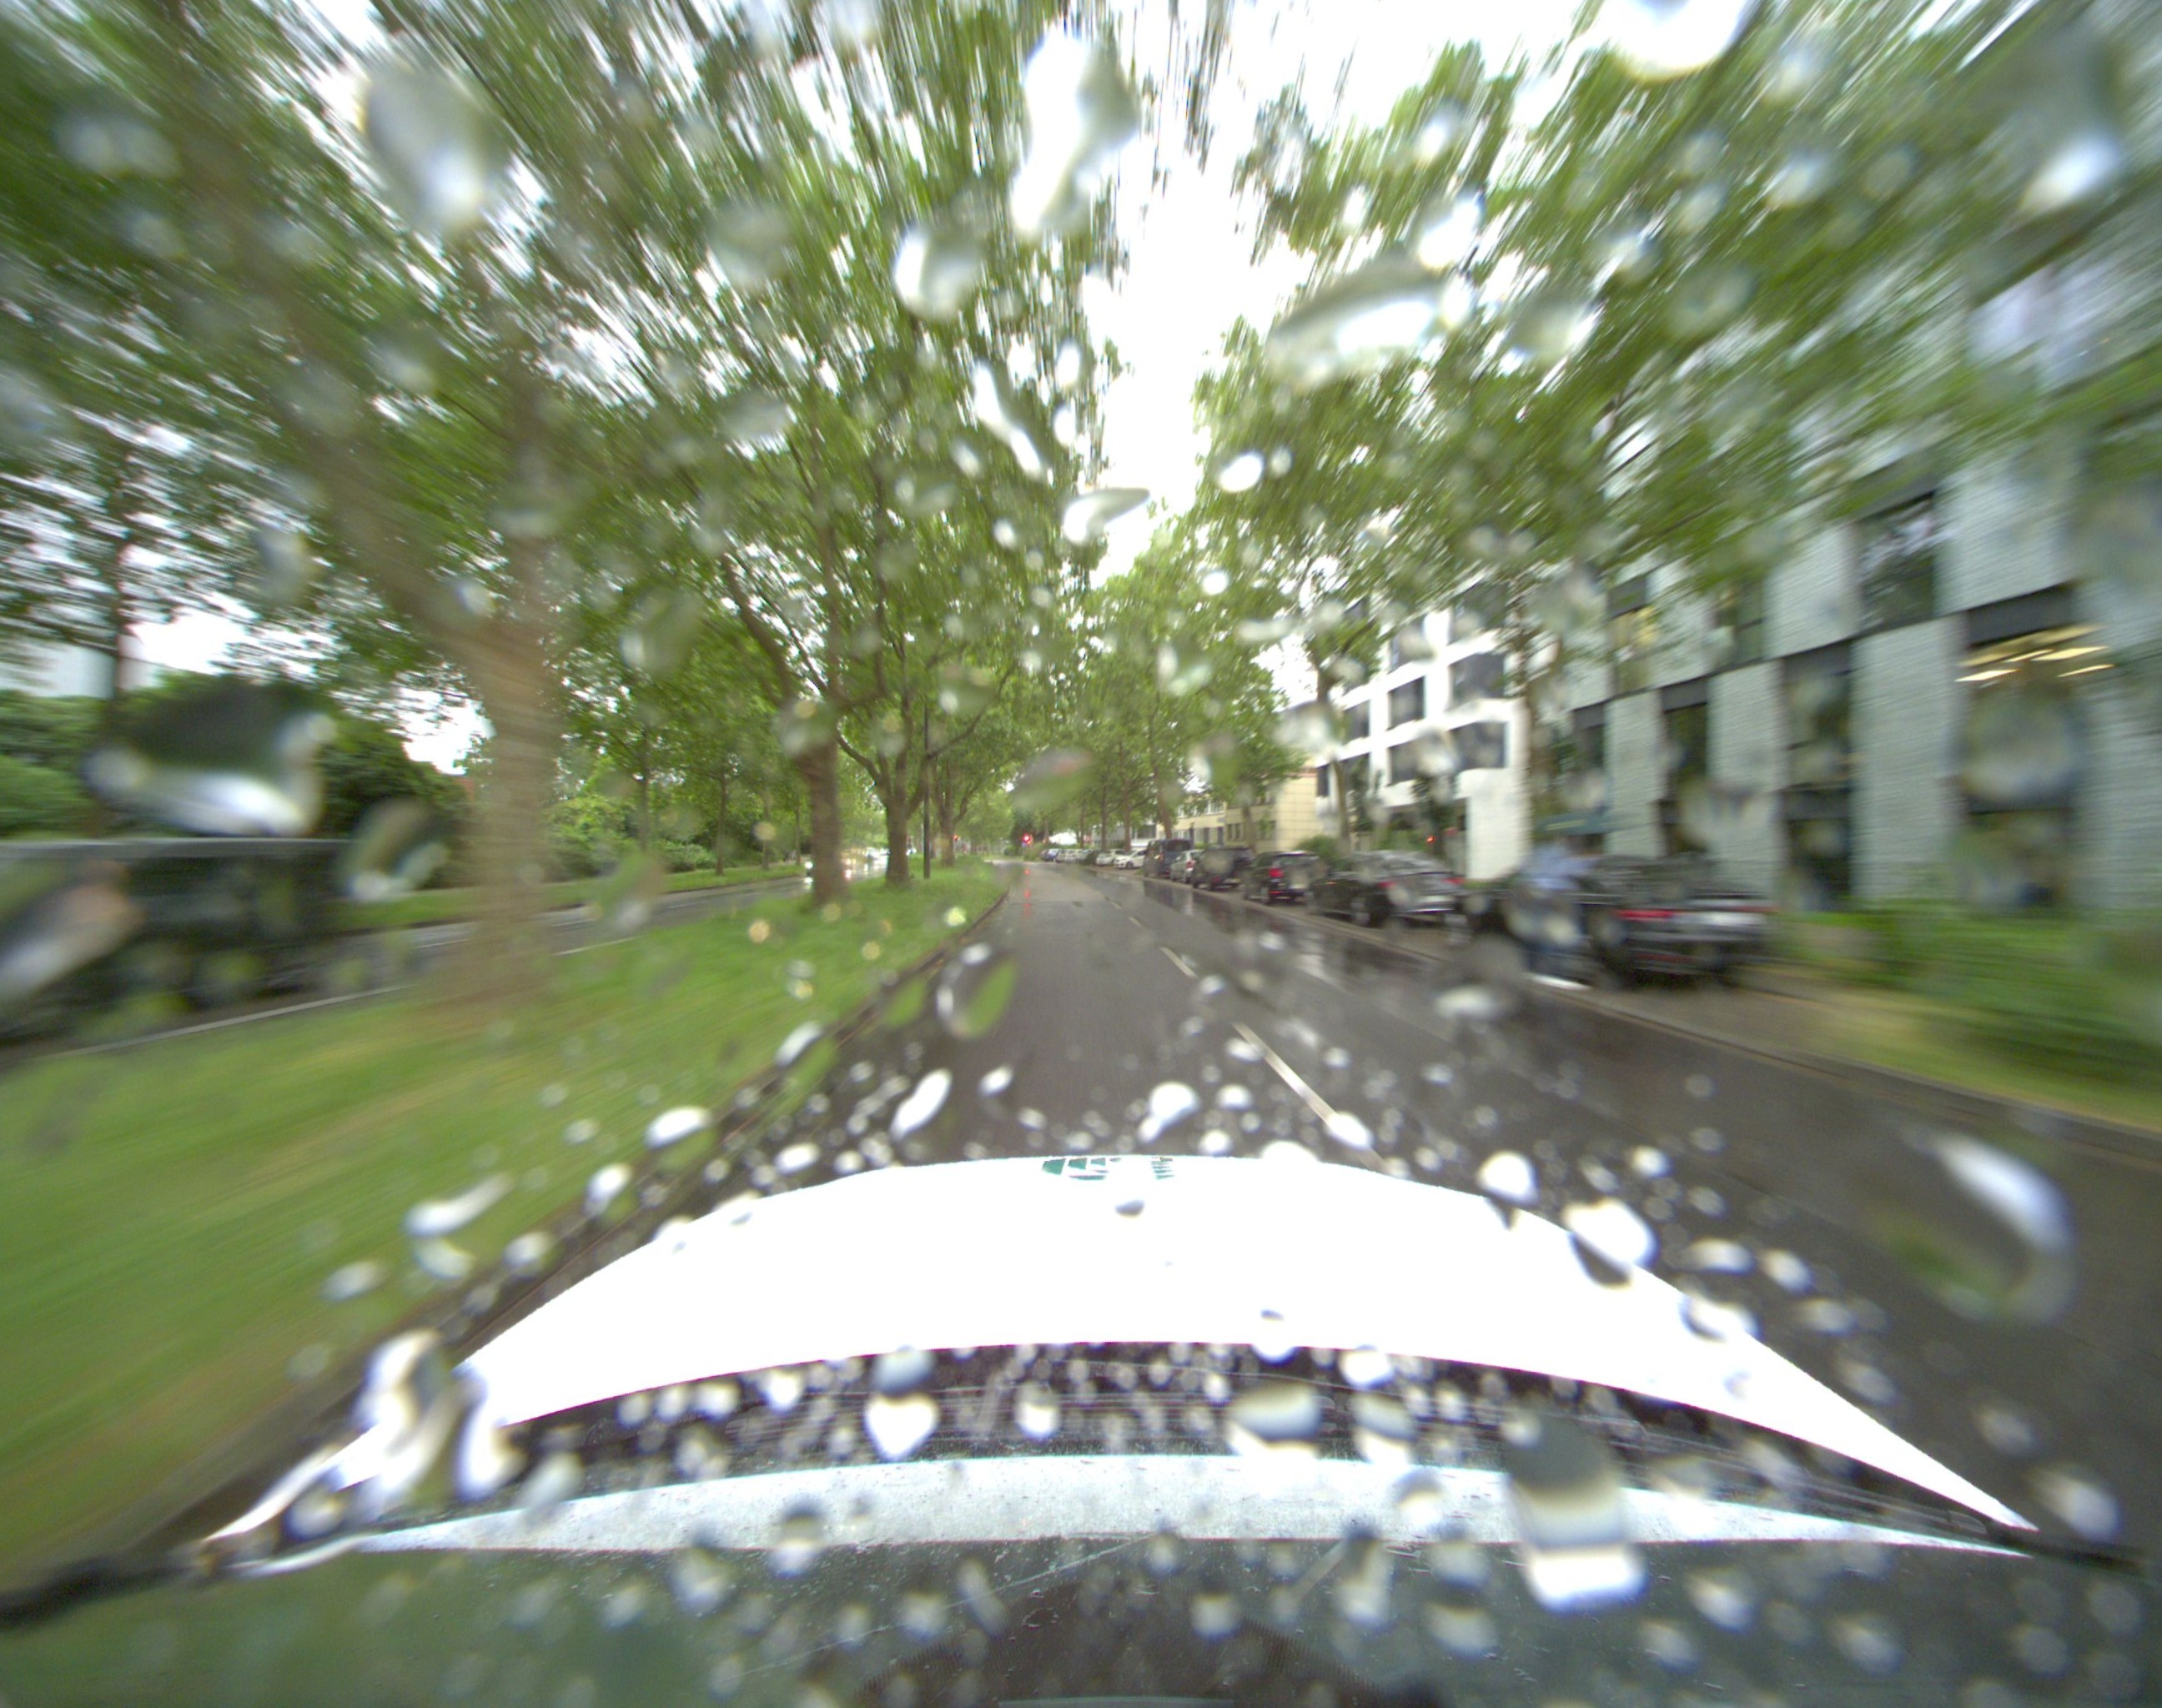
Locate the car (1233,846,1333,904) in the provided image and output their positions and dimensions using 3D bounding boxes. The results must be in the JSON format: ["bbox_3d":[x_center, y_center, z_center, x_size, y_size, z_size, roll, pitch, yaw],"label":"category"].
[{"bbox_3d":[5.597,0.532,23.010,1.738,1.476,4.080,0,0,-1],"label":"car"}]

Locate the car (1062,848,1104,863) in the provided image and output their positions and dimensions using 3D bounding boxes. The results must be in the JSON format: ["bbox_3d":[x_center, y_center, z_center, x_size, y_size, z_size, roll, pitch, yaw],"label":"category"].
[{"bbox_3d":[0.218,0.171,78.693,3.709,1.416,1.730,-1,0,-36],"label":"car"}]

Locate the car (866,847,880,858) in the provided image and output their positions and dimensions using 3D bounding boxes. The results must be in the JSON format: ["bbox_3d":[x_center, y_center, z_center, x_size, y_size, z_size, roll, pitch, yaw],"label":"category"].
[{"bbox_3d":[-30.553,-0.205,119.392,1.747,1.476,4.384,0,0,-17],"label":"car"}]

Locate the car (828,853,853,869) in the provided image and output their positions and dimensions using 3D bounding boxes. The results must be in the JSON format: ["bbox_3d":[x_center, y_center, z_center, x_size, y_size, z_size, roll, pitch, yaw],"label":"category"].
[{"bbox_3d":[-22.651,0.628,76.825,1.743,1.459,3.830,0,0,-9],"label":"car"}]

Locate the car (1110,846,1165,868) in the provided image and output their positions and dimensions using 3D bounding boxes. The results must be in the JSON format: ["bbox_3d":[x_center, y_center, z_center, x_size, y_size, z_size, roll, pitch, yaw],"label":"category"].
[{"bbox_3d":[4.194,0.221,60.223,3.651,1.504,1.735,-1,1,-24],"label":"car"}]

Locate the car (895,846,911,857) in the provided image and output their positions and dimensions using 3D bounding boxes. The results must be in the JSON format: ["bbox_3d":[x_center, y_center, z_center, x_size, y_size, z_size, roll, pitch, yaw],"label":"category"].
[{"bbox_3d":[-26.652,-0.326,121.933,1.750,1.650,4.274,0,0,-22],"label":"car"}]

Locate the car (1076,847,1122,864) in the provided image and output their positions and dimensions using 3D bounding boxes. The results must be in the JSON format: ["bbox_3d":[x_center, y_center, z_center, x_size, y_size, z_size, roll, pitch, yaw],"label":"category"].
[{"bbox_3d":[1.617,0.132,73.678,4.060,1.539,1.728,-1,0,-42],"label":"car"}]

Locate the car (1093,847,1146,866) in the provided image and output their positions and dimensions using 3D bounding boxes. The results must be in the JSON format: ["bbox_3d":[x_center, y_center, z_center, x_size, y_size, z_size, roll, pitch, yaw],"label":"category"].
[{"bbox_3d":[3.070,0.180,64.418,4.059,1.428,1.729,-1,0,-40],"label":"car"}]

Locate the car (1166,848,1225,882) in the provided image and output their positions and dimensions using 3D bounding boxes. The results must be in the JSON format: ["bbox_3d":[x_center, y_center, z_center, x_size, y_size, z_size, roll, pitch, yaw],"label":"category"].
[{"bbox_3d":[5.115,0.457,36.919,1.740,1.469,4.299,0,0,-4],"label":"car"}]

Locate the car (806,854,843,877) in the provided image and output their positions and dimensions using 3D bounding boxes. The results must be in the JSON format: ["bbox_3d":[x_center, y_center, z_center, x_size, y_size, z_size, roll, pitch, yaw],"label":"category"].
[{"bbox_3d":[-18.439,0.801,58.712,1.741,1.561,4.359,0,0,-6],"label":"car"}]

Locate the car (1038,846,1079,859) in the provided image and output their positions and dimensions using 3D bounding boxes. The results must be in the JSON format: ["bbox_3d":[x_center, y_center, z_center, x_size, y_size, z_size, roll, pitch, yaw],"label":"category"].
[{"bbox_3d":[-2.517,-0.211,92.967,4.516,1.459,1.730,-1,0,-36],"label":"car"}]

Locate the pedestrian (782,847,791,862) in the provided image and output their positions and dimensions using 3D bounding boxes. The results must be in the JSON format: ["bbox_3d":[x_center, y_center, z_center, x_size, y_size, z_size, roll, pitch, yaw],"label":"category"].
[{"bbox_3d":[-33.894,0.083,93.690,0.832,1.674,0.895,-1,0,-15],"label":"pedestrian"}]

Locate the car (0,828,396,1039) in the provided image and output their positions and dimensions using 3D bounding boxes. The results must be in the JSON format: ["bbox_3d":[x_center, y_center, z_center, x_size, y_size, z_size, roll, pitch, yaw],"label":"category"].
[{"bbox_3d":[-9.919,0.654,8.136,2.024,1.736,4.952,0,0,-1],"label":"car"}]

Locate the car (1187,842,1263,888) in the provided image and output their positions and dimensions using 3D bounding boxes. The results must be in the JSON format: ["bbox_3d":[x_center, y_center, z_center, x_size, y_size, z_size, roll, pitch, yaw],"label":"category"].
[{"bbox_3d":[5.240,0.366,30.097,1.740,1.566,4.365,0,0,-4],"label":"car"}]

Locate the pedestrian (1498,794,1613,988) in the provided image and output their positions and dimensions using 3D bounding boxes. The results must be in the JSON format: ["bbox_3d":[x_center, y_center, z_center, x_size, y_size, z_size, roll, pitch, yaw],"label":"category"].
[{"bbox_3d":[5.269,0.377,9.046,0.904,2.013,0.824,-1,0,-38],"label":"pedestrian"}]

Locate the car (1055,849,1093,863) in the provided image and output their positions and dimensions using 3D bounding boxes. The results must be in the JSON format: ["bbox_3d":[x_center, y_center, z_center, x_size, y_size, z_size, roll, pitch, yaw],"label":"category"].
[{"bbox_3d":[-0.712,0.169,84.146,3.712,1.416,1.755,-1,0,-40],"label":"car"}]

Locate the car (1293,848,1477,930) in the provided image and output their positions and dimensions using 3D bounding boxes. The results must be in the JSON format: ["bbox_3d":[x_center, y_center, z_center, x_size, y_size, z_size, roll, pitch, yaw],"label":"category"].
[{"bbox_3d":[6.075,0.608,17.005,1.739,1.428,5.099,0,0,-3],"label":"car"}]

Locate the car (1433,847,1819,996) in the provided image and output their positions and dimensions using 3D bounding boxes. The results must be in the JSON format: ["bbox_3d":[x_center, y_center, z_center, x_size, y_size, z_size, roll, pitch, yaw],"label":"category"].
[{"bbox_3d":[6.293,0.640,10.266,1.737,1.428,4.870,0,0,2],"label":"car"}]

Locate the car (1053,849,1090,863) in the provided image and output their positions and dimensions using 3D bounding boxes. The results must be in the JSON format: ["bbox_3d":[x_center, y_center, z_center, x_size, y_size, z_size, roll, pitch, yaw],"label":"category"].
[{"bbox_3d":[-1.019,0.202,87.410,3.712,1.416,1.728,-1,0,-40],"label":"car"}]

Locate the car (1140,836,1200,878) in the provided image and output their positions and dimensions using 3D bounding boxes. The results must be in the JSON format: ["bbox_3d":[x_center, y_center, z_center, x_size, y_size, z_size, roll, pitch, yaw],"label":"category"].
[{"bbox_3d":[4.537,0.146,42.224,2.117,2.028,5.519,0,0,-4],"label":"car"}]
